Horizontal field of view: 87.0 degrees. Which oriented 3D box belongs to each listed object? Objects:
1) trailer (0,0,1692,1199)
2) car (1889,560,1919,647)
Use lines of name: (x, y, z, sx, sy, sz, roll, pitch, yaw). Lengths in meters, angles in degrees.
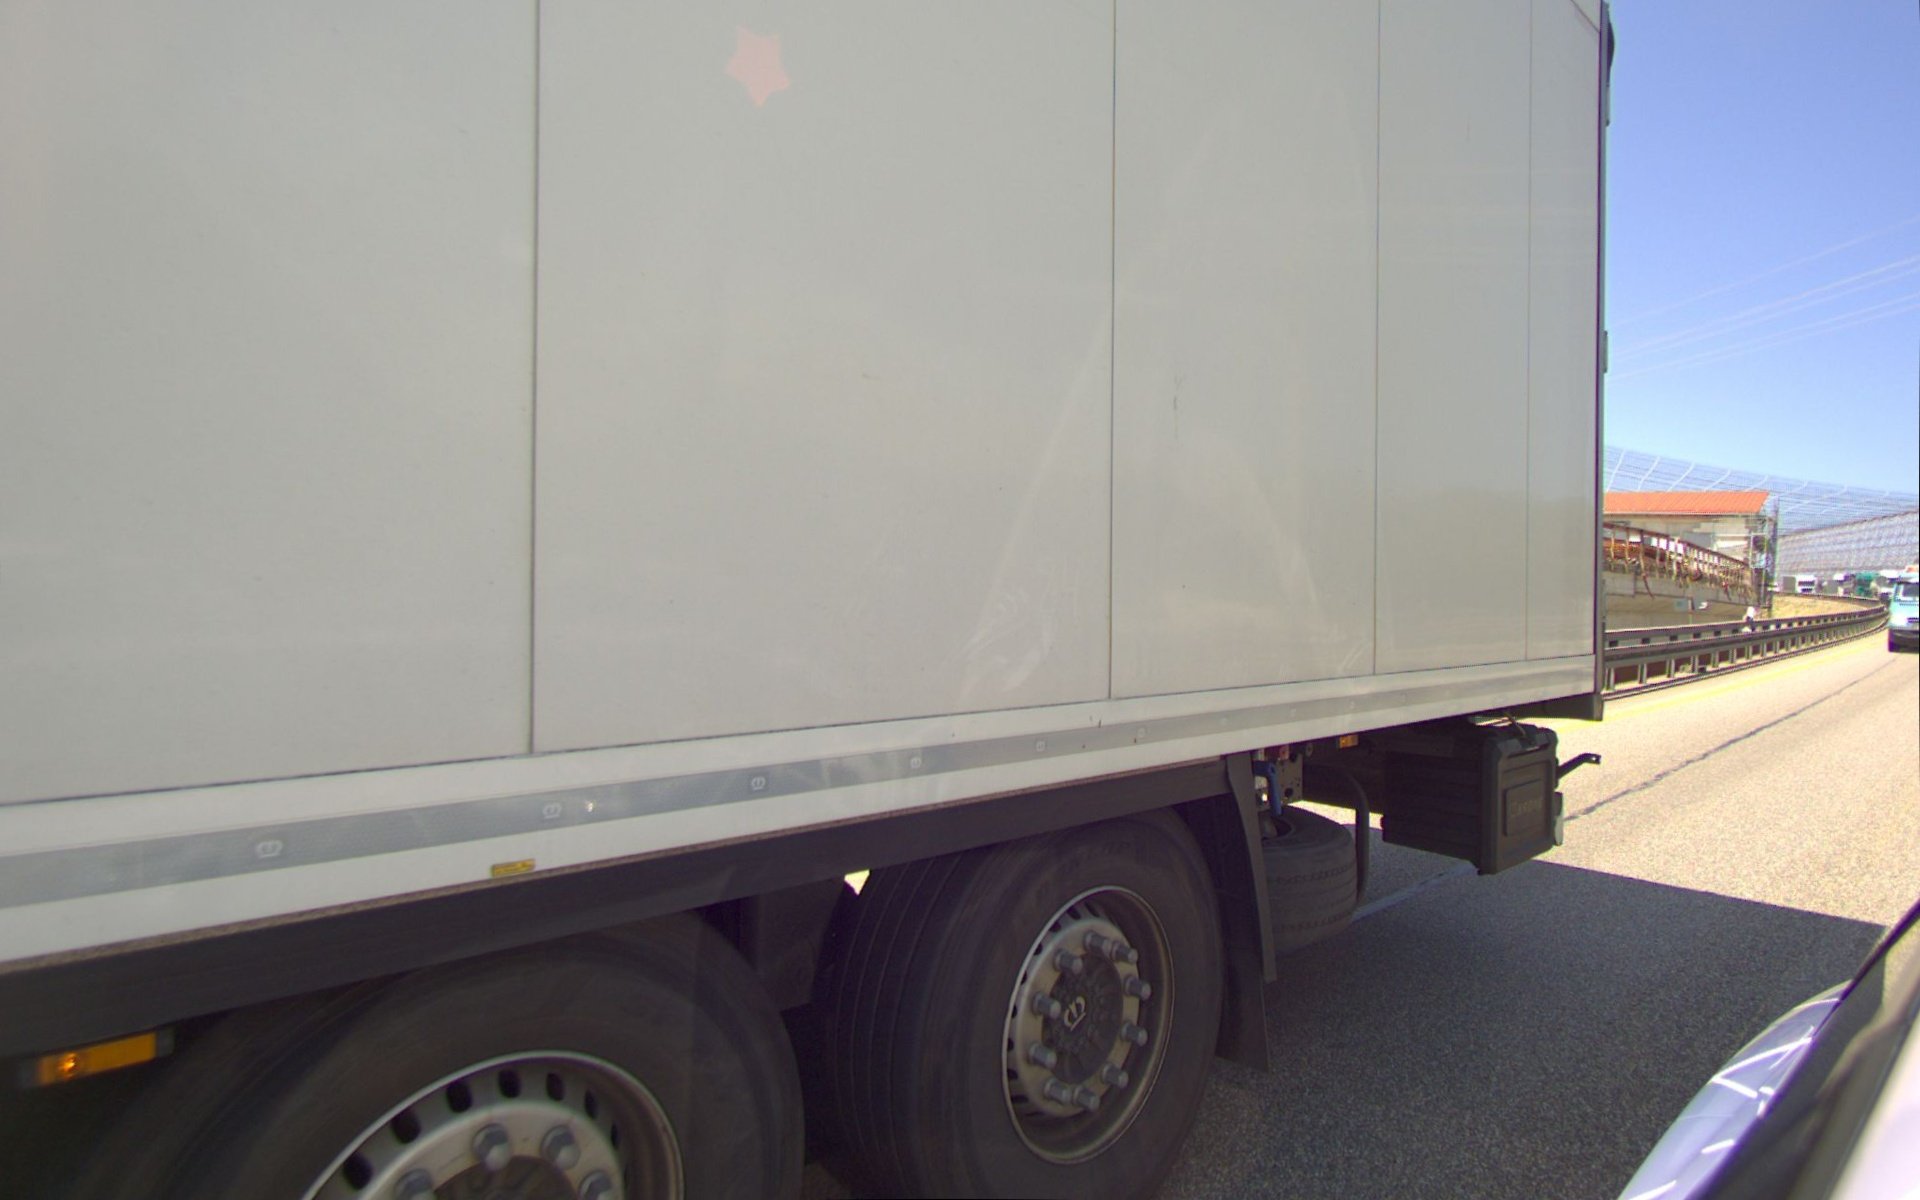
trailer: (-1.224, -0.714, 2.481, 11.350, 4.179, 2.535, -1, 0, -42)
car: (28.765, 0.071, 29.204, 6.783, 2.355, 2.215, -1, 1, -42)
